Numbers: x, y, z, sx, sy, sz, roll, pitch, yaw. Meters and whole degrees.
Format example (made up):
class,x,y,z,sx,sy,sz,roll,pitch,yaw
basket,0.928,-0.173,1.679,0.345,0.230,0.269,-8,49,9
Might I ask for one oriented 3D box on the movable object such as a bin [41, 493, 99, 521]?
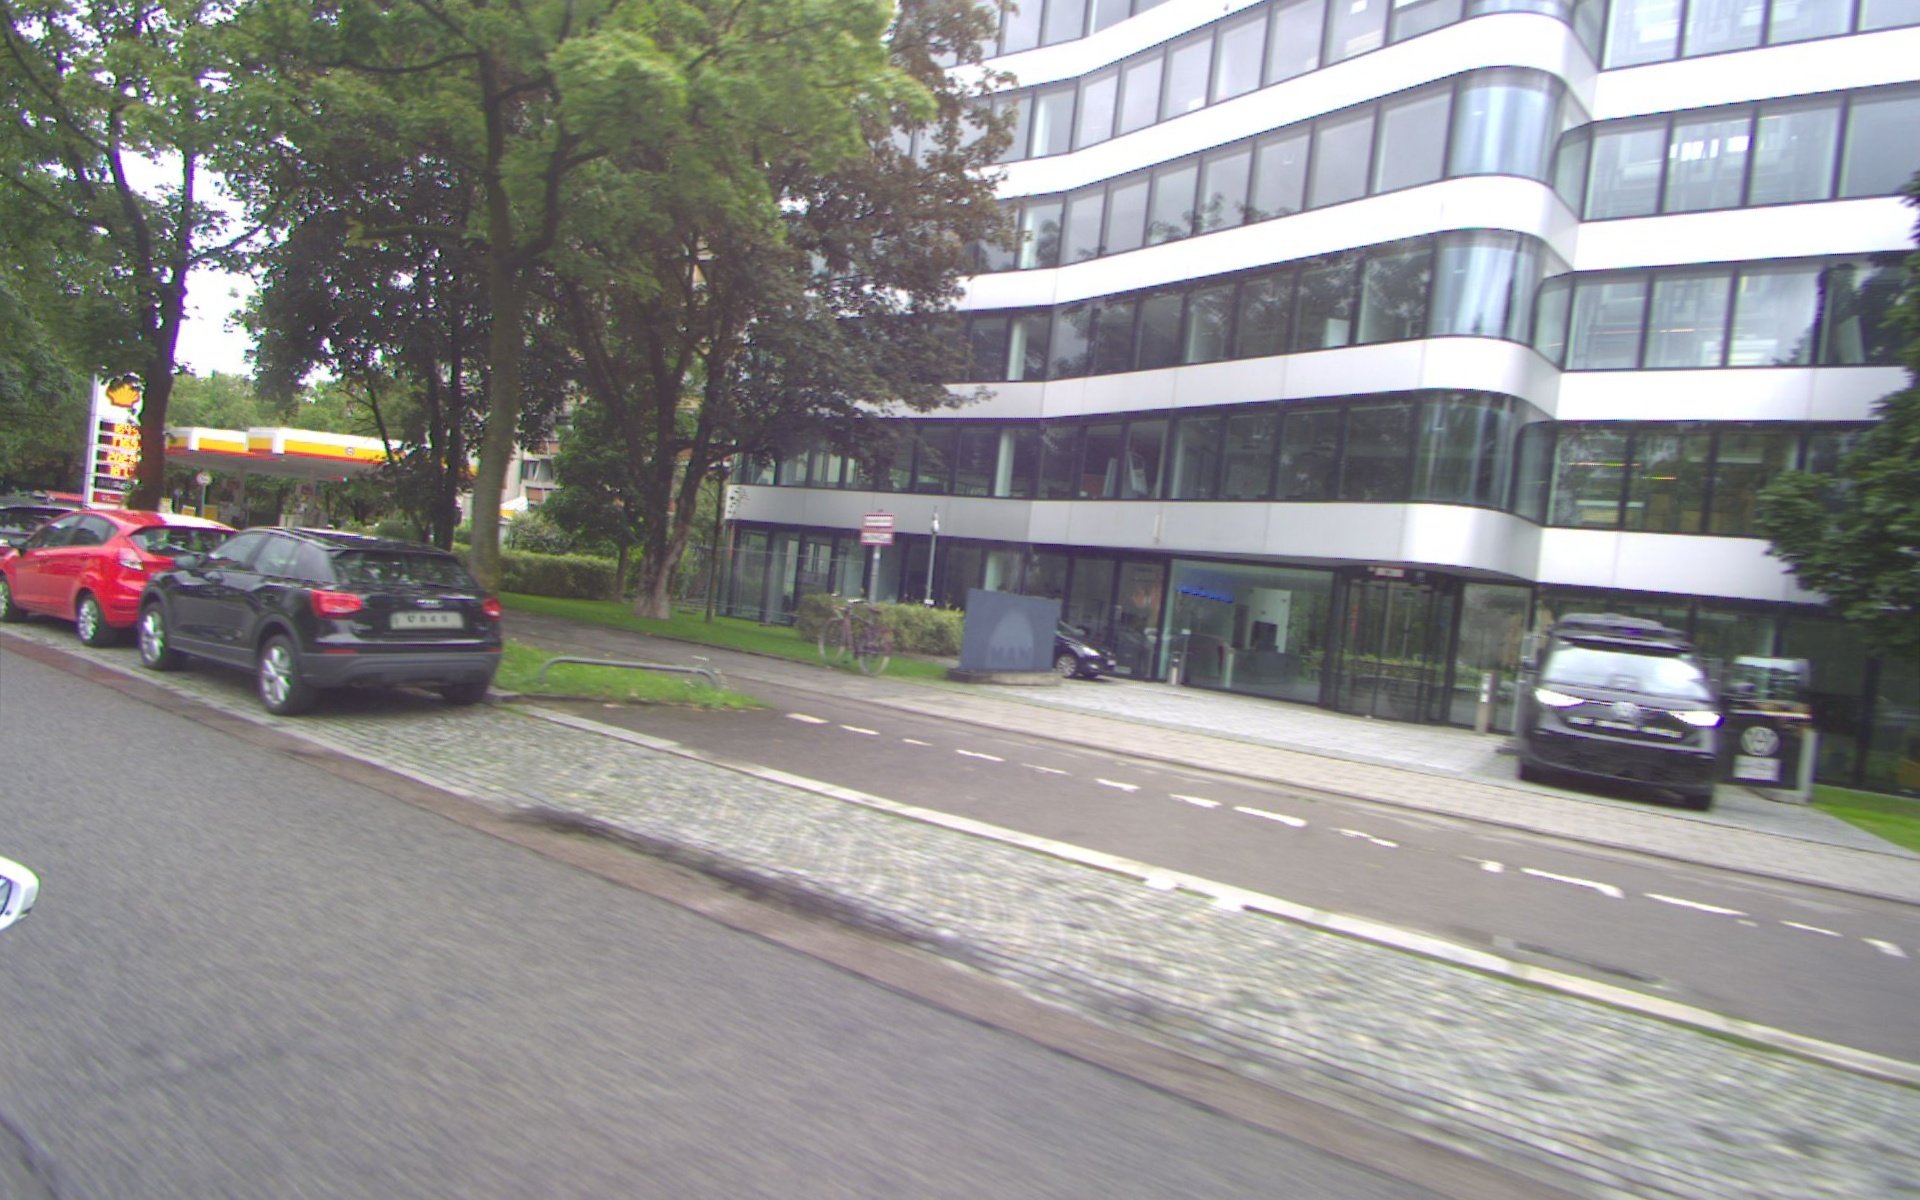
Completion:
class,x,y,z,sx,sy,sz,roll,pitch,yaw
movable object such as a bin,-50.730,-5.300,57.369,1.506,1.279,2.061,7,0,32

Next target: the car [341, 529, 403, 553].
class,x,y,z,sx,sy,sz,roll,pitch,yaw
car,-47.787,-4.787,81.812,1.742,1.634,4.021,8,5,38

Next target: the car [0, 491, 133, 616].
class,x,y,z,sx,sy,sz,roll,pitch,yaw
car,-13.623,-0.772,14.149,4.506,1.473,1.675,7,2,32

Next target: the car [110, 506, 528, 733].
class,x,y,z,sx,sy,sz,roll,pitch,yaw
car,-6.211,0.075,9.596,4.216,1.531,1.779,7,2,34

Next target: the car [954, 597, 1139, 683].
class,x,y,z,sx,sy,sz,roll,pitch,yaw
car,2.130,0.973,24.936,3.981,1.567,2.021,7,1,31

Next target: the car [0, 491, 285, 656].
class,x,y,z,sx,sy,sz,roll,pitch,yaw
car,-9.915,-0.360,11.909,3.954,1.521,1.675,7,2,32

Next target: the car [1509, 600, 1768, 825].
class,x,y,z,sx,sy,sz,roll,pitch,yaw
car,8.633,1.324,13.207,2.111,2.109,5.476,7,0,31

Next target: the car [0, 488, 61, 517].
class,x,y,z,sx,sy,sz,roll,pitch,yaw
car,-64.143,-6.703,68.703,1.903,1.634,3.871,8,5,38

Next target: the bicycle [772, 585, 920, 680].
class,x,y,z,sx,sy,sz,roll,pitch,yaw
bicycle,-1.795,0.487,15.655,2.209,1.198,0.749,7,1,32
